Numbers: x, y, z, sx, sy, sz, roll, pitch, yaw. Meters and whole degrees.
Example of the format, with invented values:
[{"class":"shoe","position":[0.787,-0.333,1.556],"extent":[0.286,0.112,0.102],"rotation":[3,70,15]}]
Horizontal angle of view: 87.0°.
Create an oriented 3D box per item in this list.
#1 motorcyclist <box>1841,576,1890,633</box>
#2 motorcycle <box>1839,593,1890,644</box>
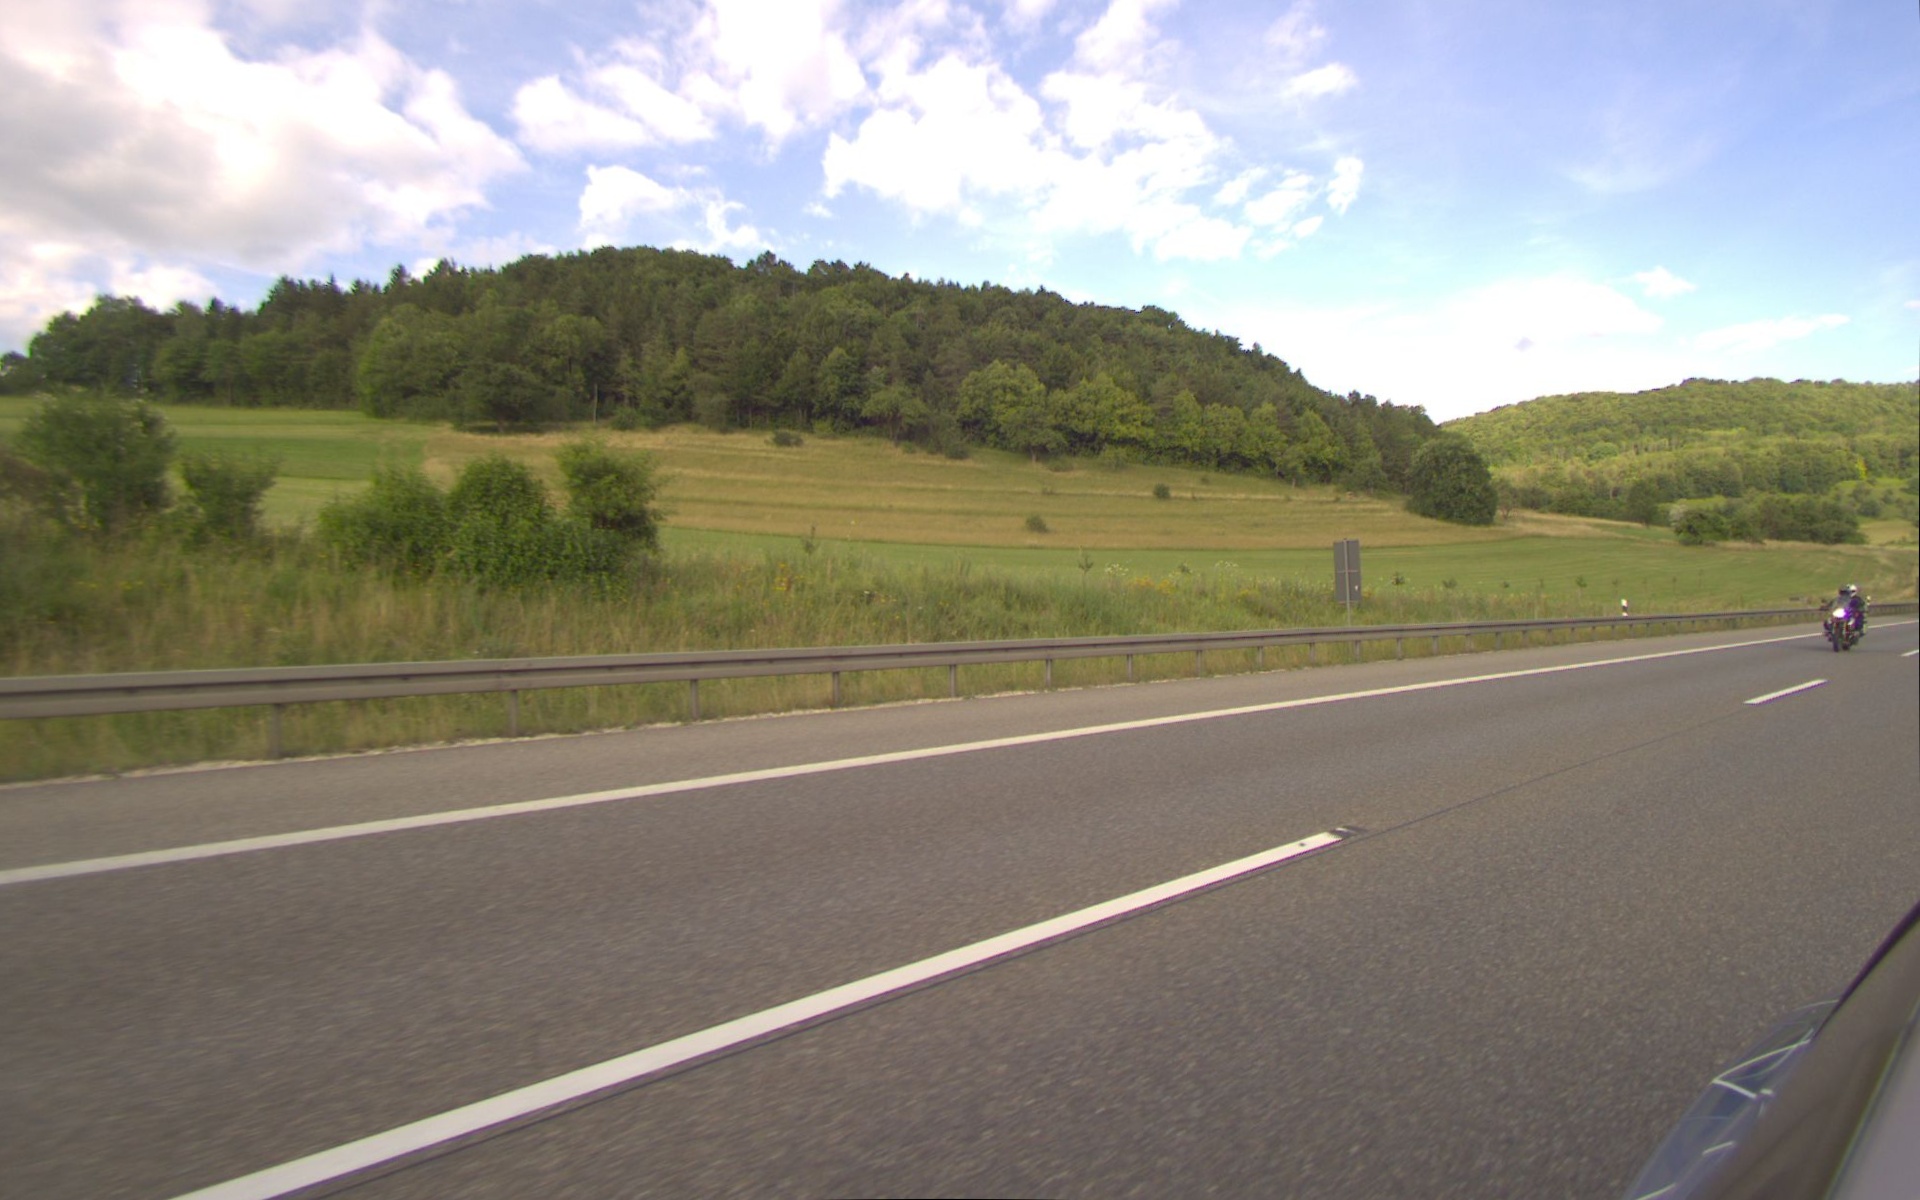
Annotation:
[{"class":"motorcyclist","position":[25.021,0.116,27.960],"extent":[0.783,1.534,0.879],"rotation":[-1,1,-38]},{"class":"motorcycle","position":[24.968,0.490,27.934],"extent":[1.705,1.356,0.629],"rotation":[-1,1,-33]}]
